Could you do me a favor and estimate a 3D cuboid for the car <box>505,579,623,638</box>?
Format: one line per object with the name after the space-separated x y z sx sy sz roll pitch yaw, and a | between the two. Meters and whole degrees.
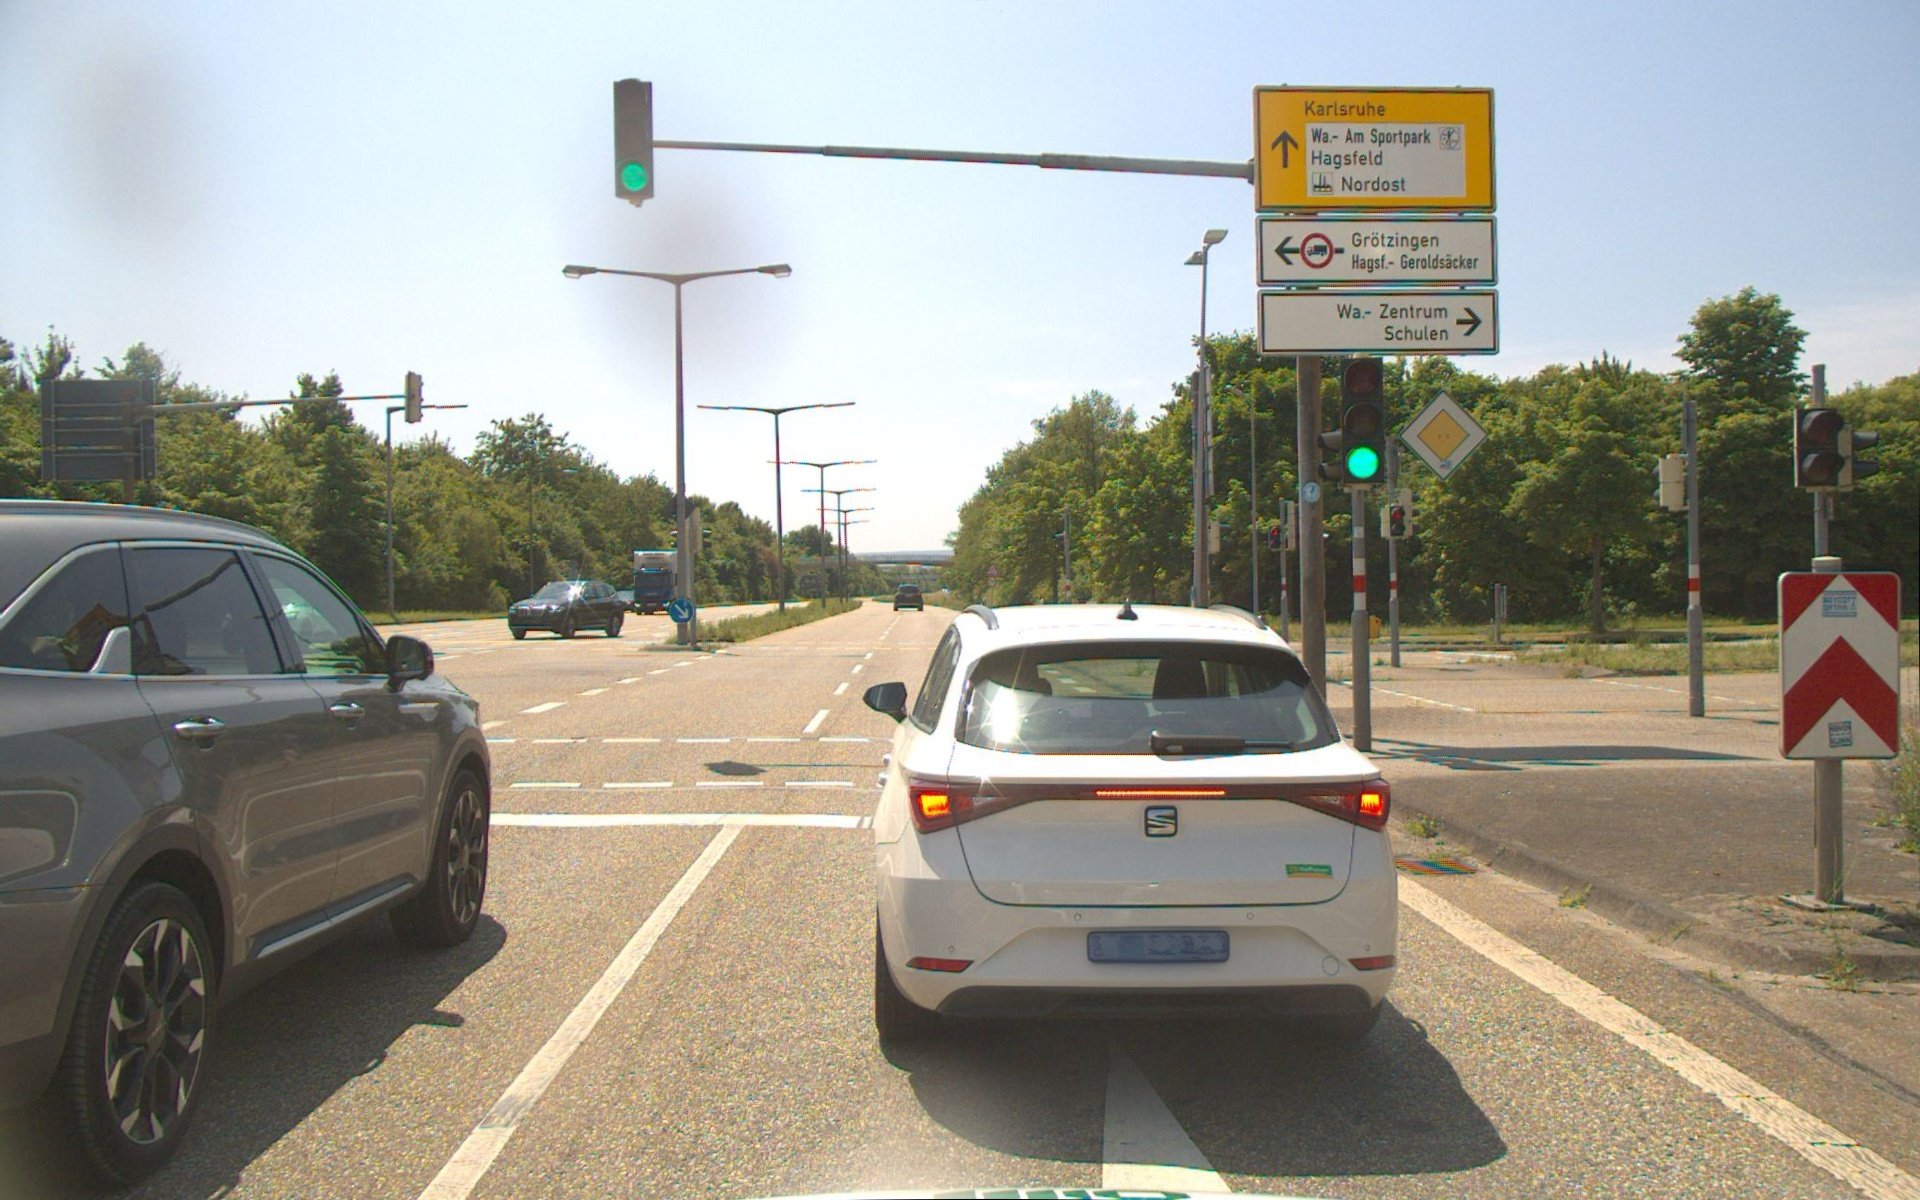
-11.827 0.220 49.652 1.670 1.692 4.226 -1 1 14 | car

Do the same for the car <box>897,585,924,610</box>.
-3.498 -0.180 116.357 1.817 1.738 3.999 -1 1 -2 | car

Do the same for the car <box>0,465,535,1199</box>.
-2.846 0.574 5.399 1.767 1.691 4.643 -1 0 -1 | car

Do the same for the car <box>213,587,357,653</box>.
-16.212 0.434 39.952 1.785 1.481 4.168 -1 1 -1 | car

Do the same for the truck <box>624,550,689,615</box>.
-17.661 -1.024 96.700 2.633 3.633 7.266 0 1 -1 | truck

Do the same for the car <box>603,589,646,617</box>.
-21.514 0.181 106.193 1.785 1.762 4.925 -1 1 -1 | car

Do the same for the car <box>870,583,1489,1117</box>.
0.586 0.702 6.426 1.699 1.453 3.693 1 0 -1 | car
